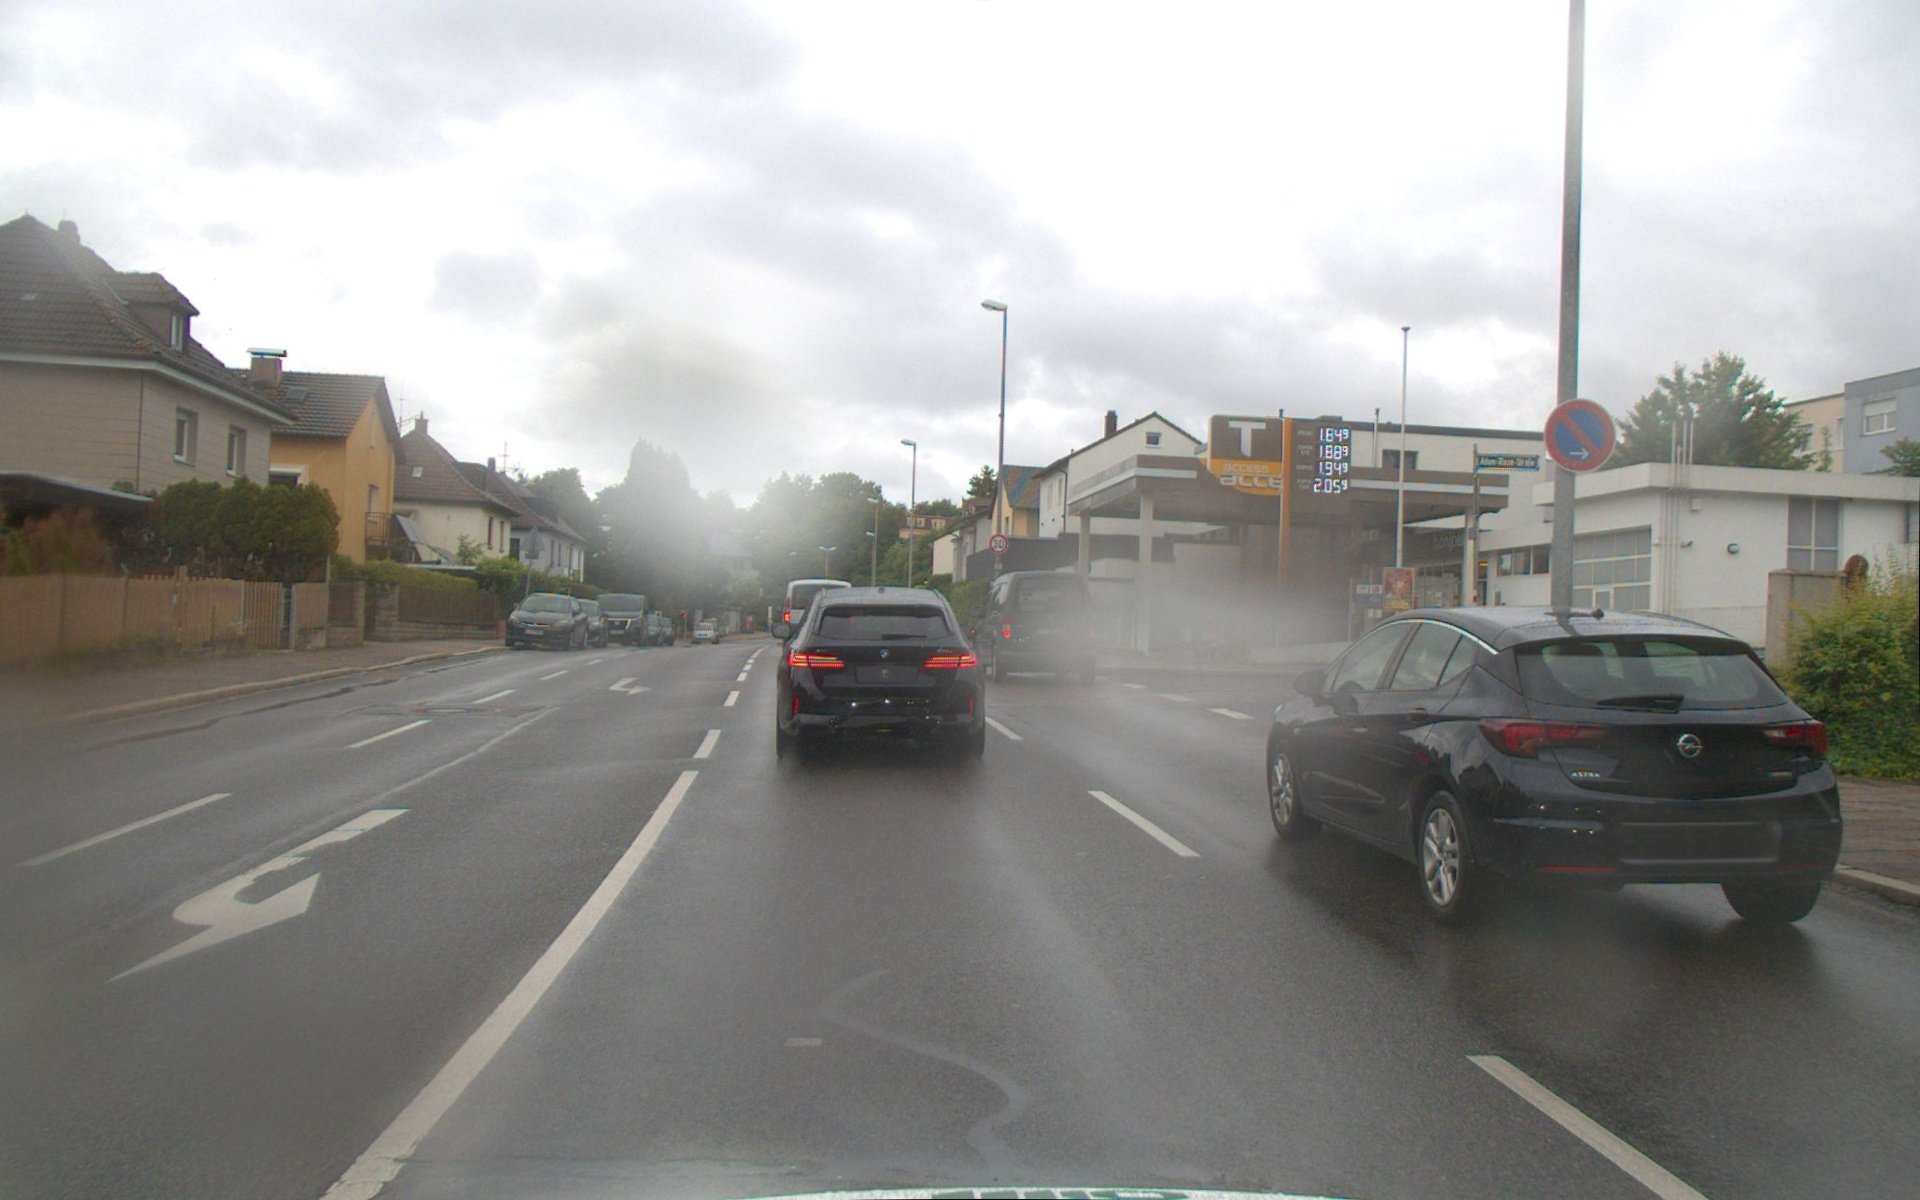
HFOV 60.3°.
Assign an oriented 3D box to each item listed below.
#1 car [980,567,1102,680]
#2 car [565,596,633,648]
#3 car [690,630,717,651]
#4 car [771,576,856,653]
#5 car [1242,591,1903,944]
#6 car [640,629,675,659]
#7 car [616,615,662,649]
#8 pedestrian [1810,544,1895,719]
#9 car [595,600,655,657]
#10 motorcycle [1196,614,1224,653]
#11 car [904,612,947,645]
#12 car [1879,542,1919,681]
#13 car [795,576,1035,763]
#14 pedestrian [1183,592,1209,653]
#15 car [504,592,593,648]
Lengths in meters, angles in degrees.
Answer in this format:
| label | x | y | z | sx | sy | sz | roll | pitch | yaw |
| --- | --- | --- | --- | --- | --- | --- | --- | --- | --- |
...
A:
| label | x | y | z | sx | sy | sz | roll | pitch | yaw |
| --- | --- | --- | --- | --- | --- | --- | --- | --- | --- |
| car | 1.337 | 0.441 | 28.806 | 1.801 | 1.798 | 3.998 | 1 | -2 | -2 |
| car | -11.399 | 0.741 | 52.429 | 1.717 | 1.543 | 4.518 | 1 | -2 | -8 |
| car | -20.129 | 3.208 | 130.046 | 1.848 | 1.613 | 3.995 | 1 | -2 | -6 |
| car | -3.582 | 0.387 | 40.781 | 1.954 | 1.768 | 3.996 | 1 | -2 | -5 |
| car | 2.962 | 0.707 | 9.004 | 1.723 | 1.475 | 3.994 | 1 | 0 | -7 |
| car | -15.327 | 2.255 | 83.890 | 1.522 | 1.456 | 4.006 | 1 | -2 | -8 |
| car | -15.009 | 1.516 | 77.543 | 1.723 | 1.560 | 4.280 | 1 | -2 | -6 |
| pedestrian | 10.658 | 0.376 | 19.763 | 0.700 | 2.049 | 0.615 | 1 | -2 | 3 |
| car | -12.592 | 1.114 | 62.450 | 1.877 | 2.038 | 5.077 | 1 | -2 | -8 |
| motorcycle | 7.006 | 0.947 | 46.349 | 0.453 | 1.074 | 1.388 | 1 | -2 | -6 |
| car | -1.720 | 1.413 | 80.414 | 1.668 | 1.537 | 4.528 | 1 | -2 | -6 |
| car | 11.919 | 0.054 | 17.284 | 1.779 | 1.554 | 3.985 | -2 | -1 | -14 |
| car | -0.545 | 0.635 | 15.633 | 1.955 | 1.510 | 3.995 | 1 | -2 | -5 |
| pedestrian | 6.635 | 0.630 | 46.548 | 0.598 | 1.685 | 0.585 | 1 | -2 | -6 |
| car | -11.336 | 0.584 | 45.809 | 1.716 | 1.465 | 4.125 | 1 | -2 | -5 |
